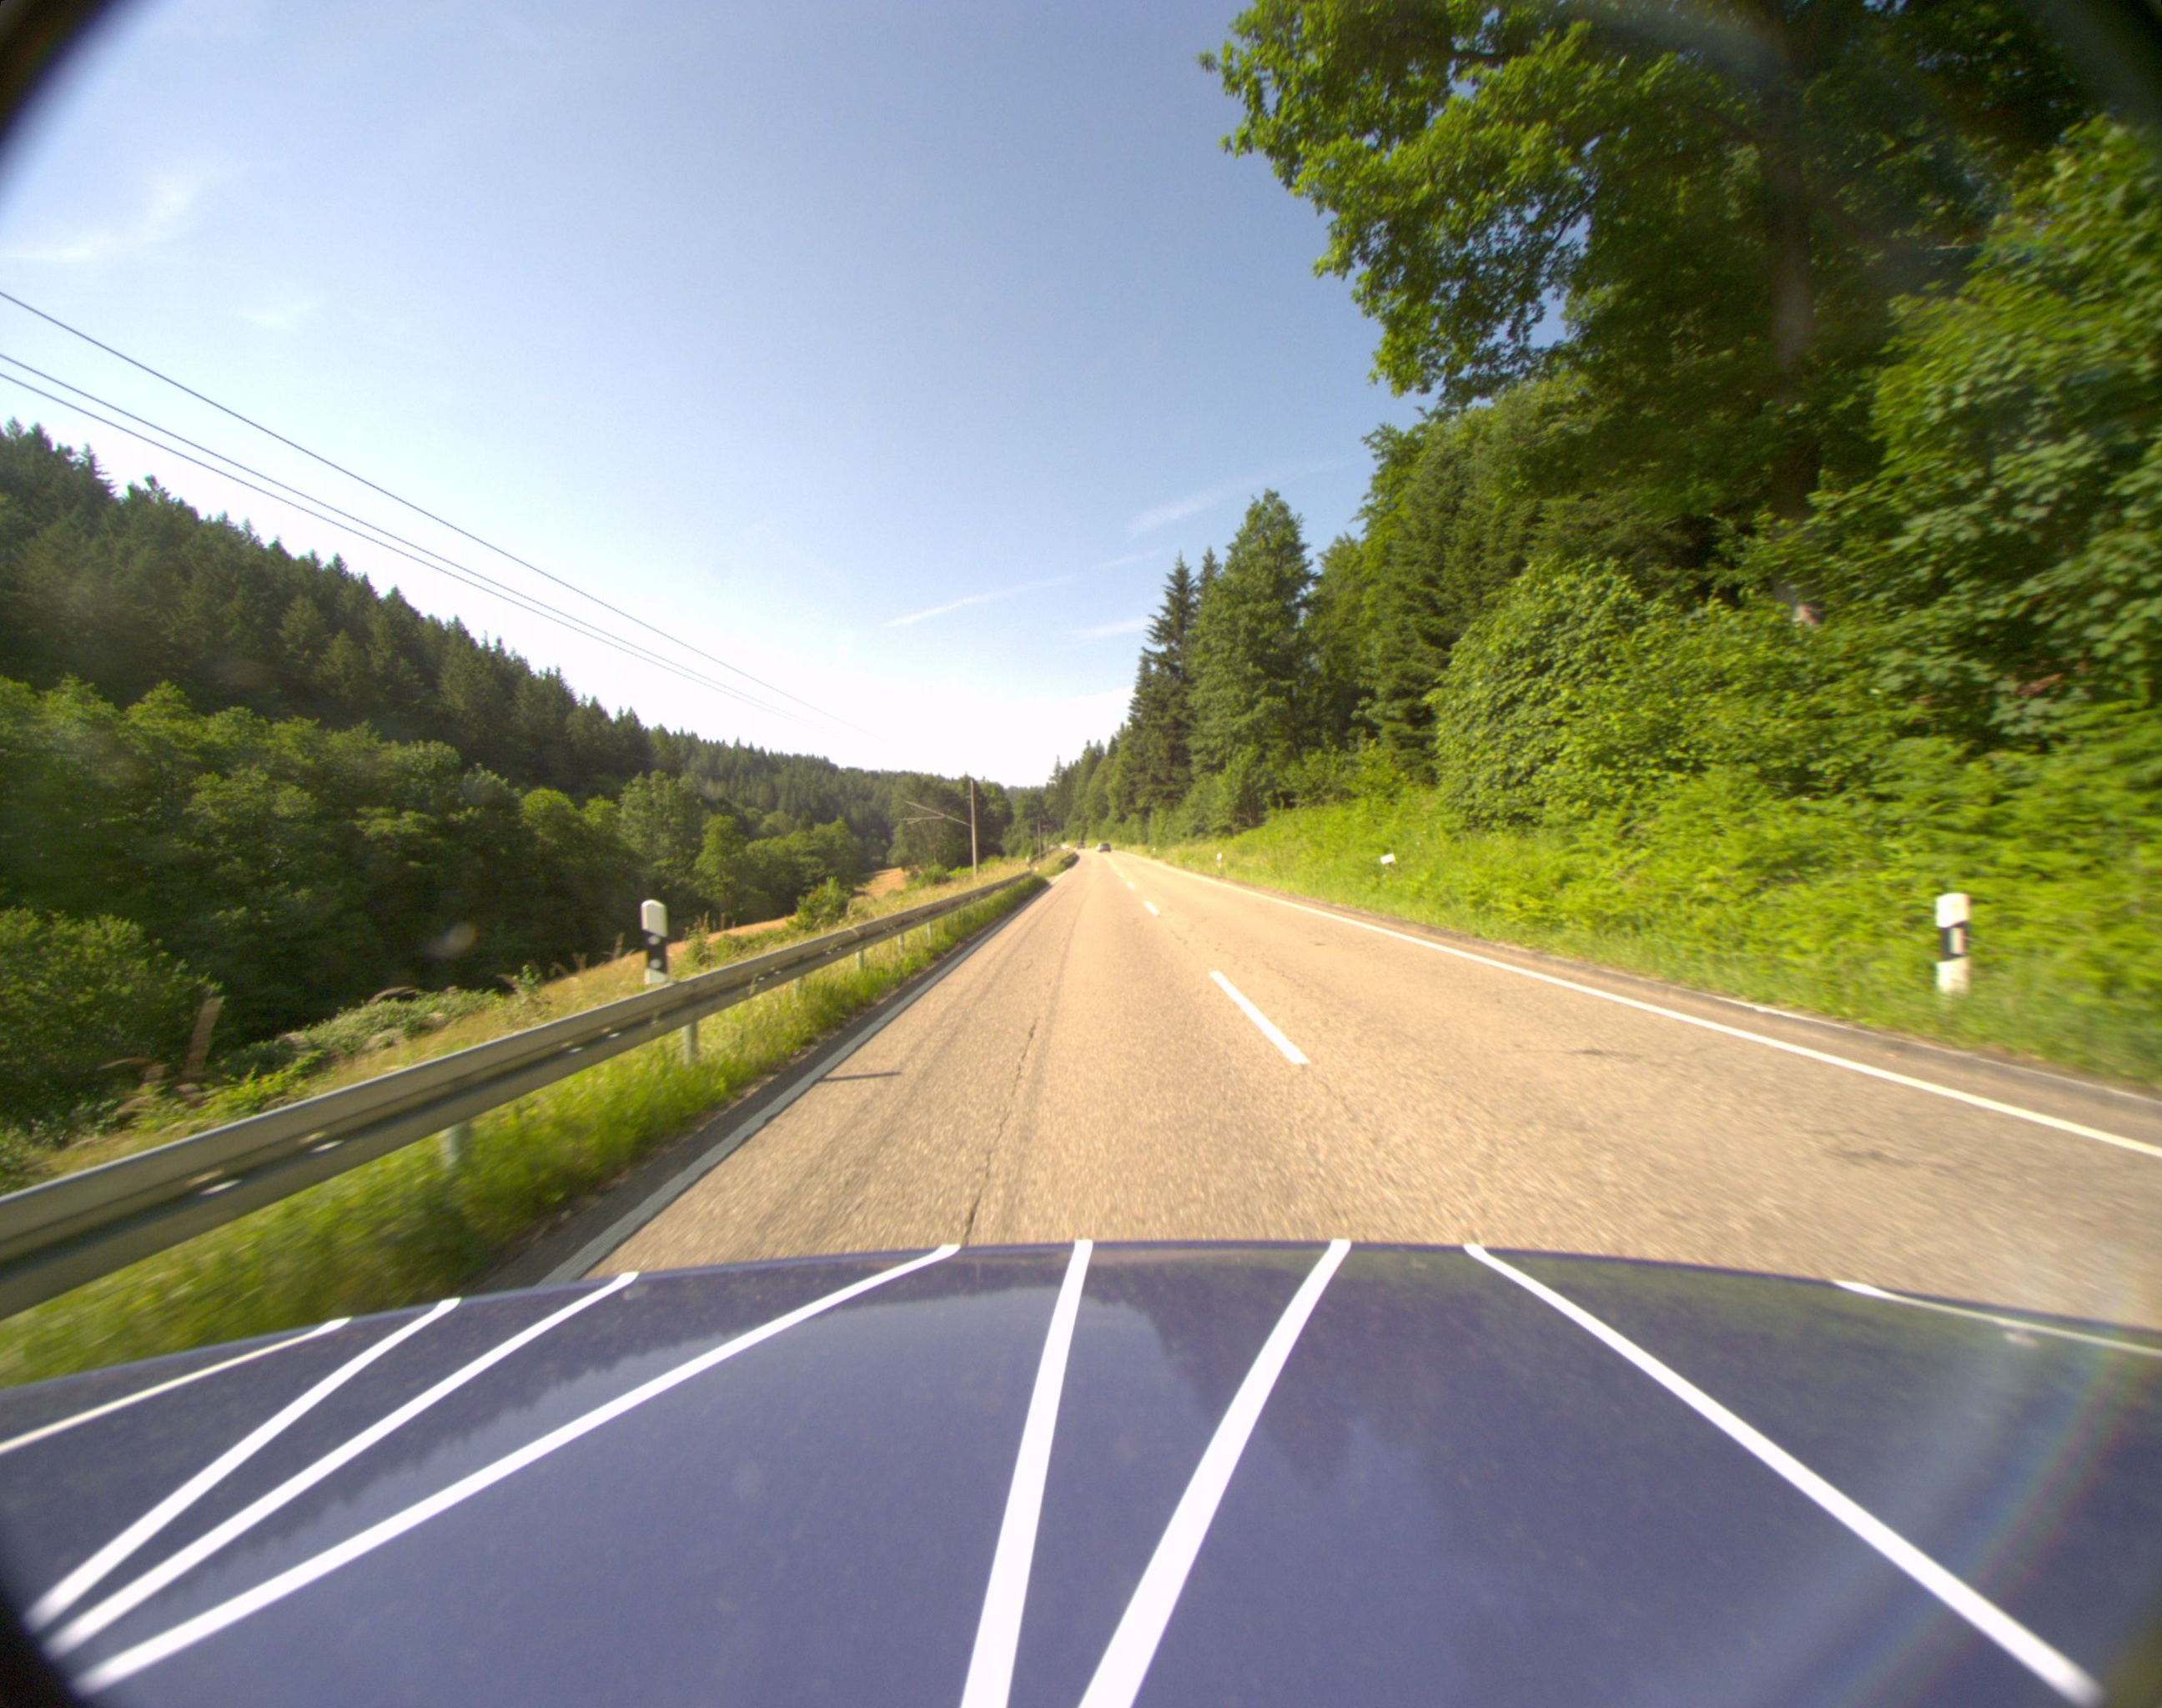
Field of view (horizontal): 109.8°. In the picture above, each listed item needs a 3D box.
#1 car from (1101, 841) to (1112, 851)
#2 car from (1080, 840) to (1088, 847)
[{"bbox_3d":[4.410,-1.338,130.675,1.840,1.572,4.874,-2,1,1],"label":"car"},{"bbox_3d":[0.796,-2.809,202.017,1.968,1.568,4.535,-2,1,-1],"label":"car"}]
